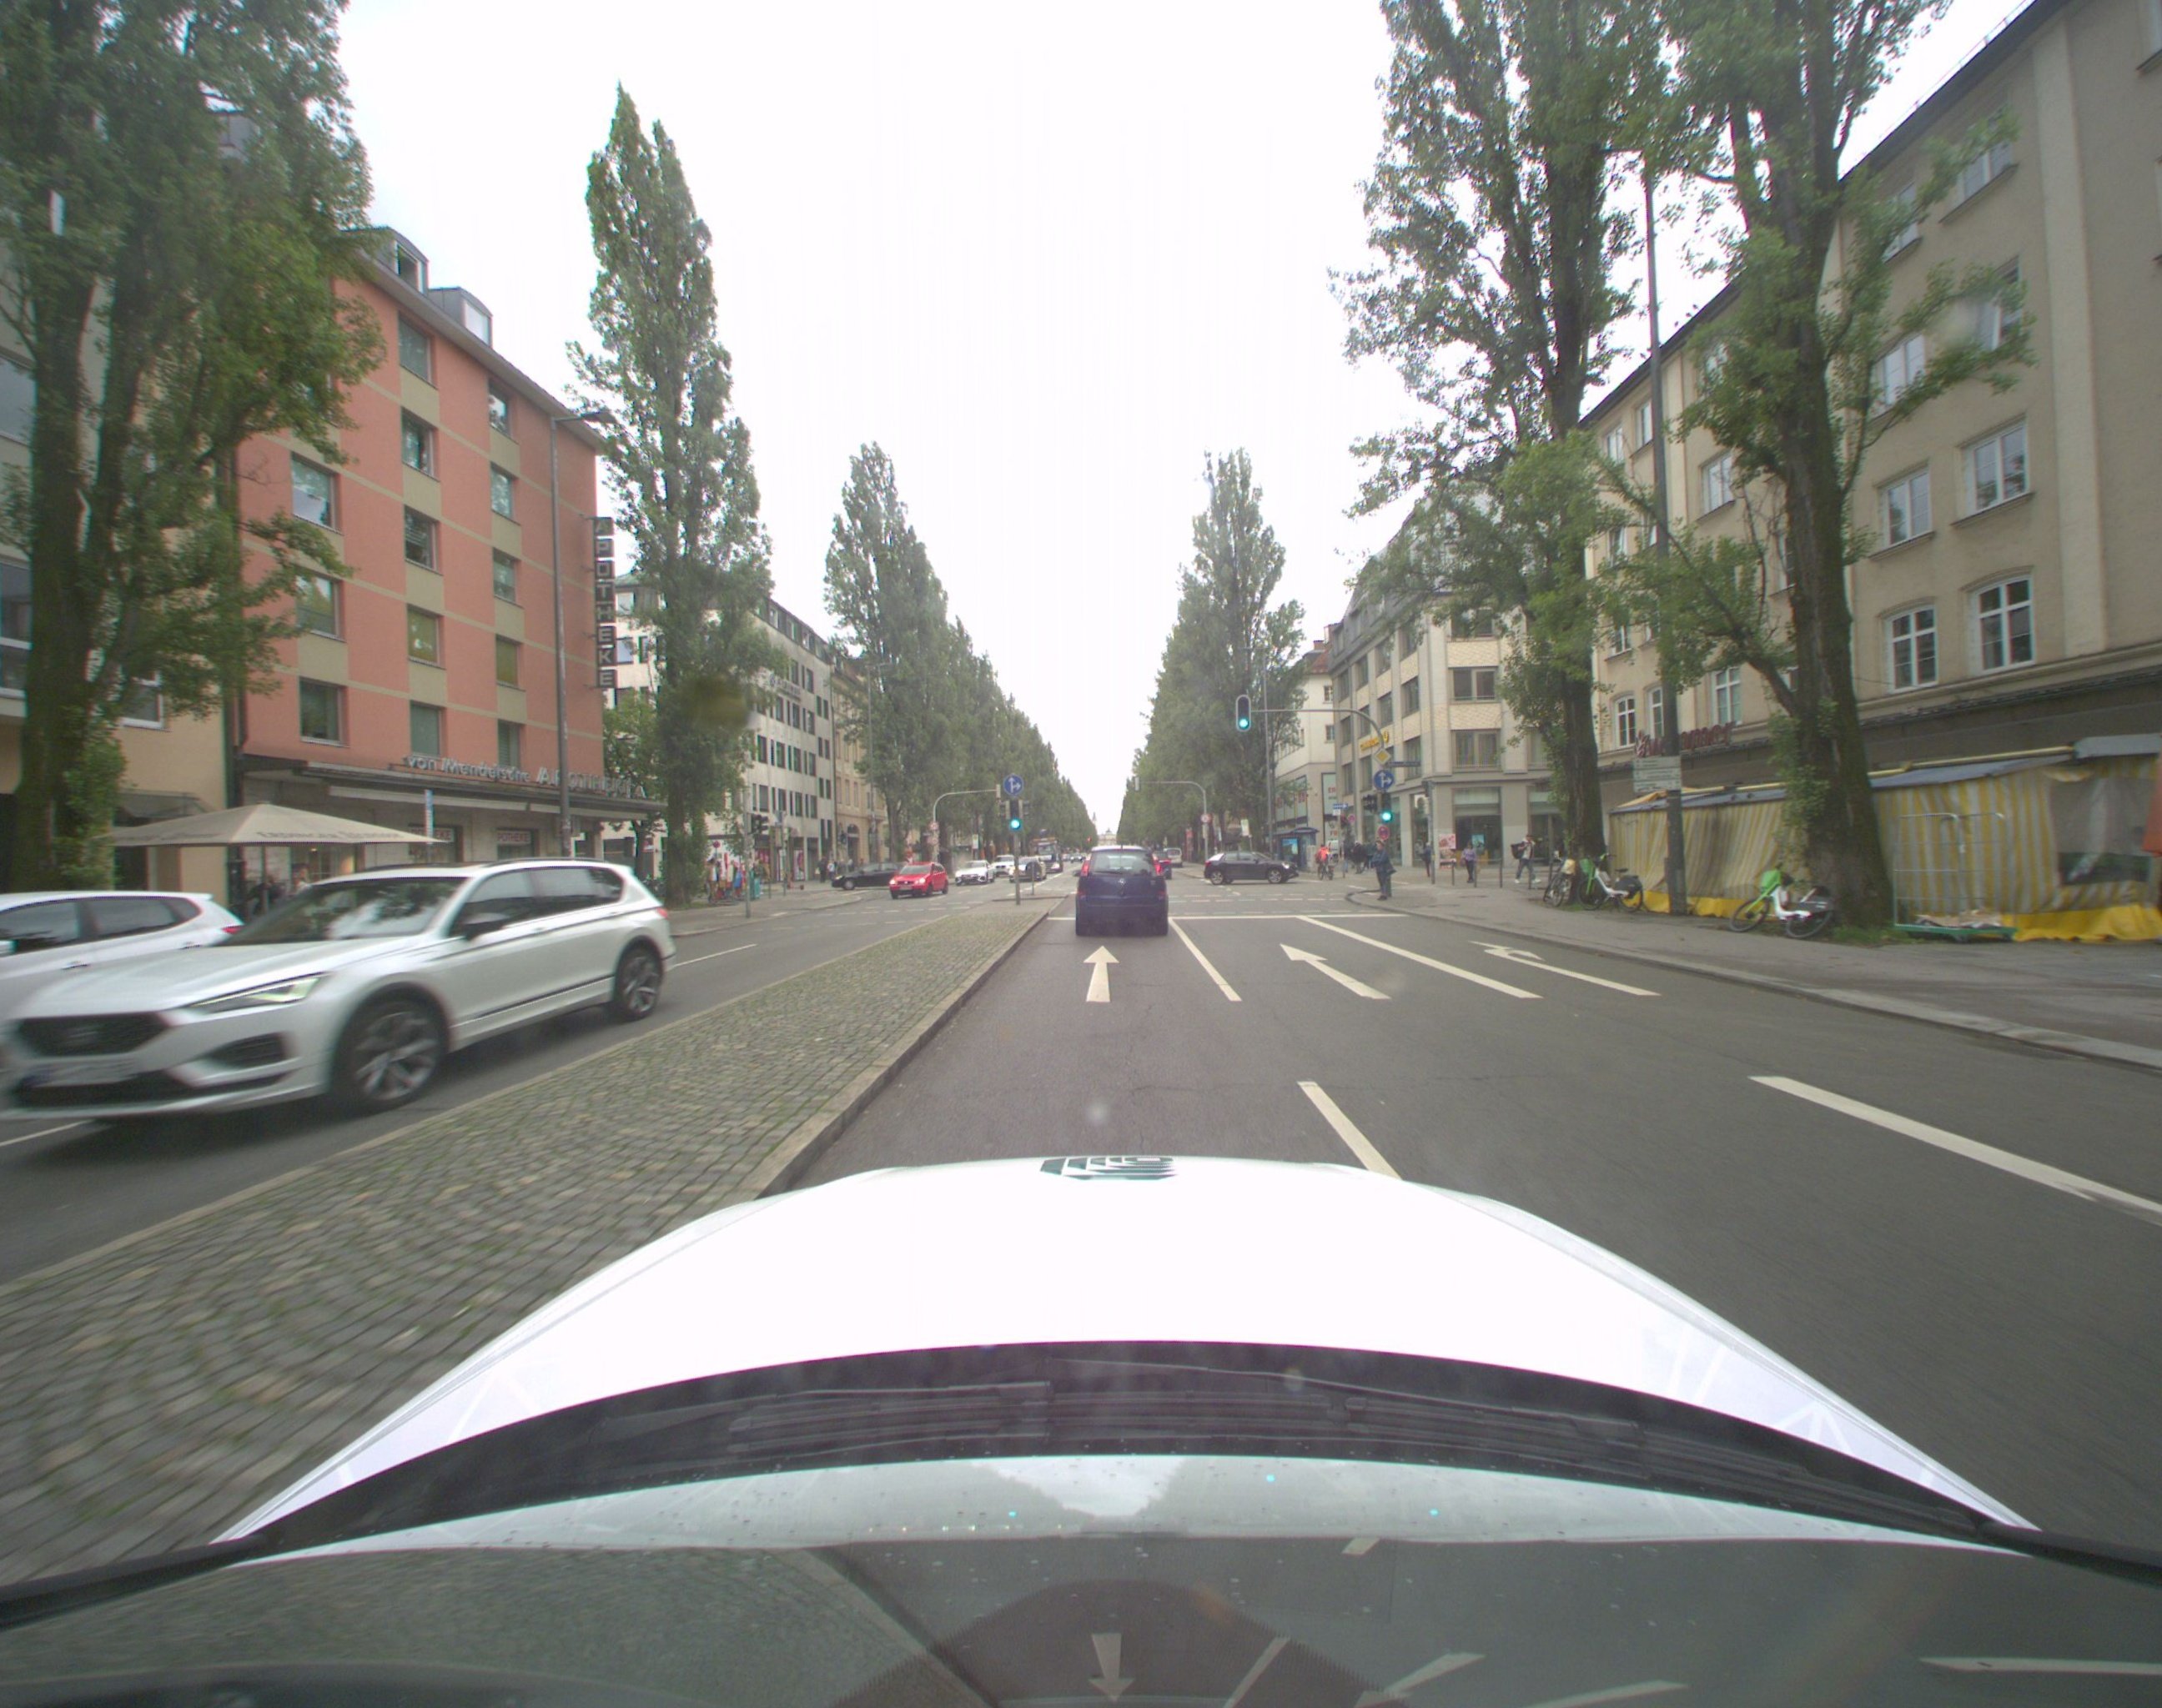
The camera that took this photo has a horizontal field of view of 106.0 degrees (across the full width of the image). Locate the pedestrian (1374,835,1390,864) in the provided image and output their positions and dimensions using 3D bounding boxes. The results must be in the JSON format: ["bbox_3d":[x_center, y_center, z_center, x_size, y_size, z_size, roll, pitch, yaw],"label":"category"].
[{"bbox_3d":[18.924,-0.272,51.219,0.747,1.758,0.711,-2,0,3],"label":"pedestrian"}]

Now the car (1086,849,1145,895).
[{"bbox_3d":[1.245,0.616,30.083,1.986,1.497,4.001,-2,0,1],"label":"car"}]

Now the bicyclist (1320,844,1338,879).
[{"bbox_3d":[11.604,0.348,38.119,0.619,1.588,0.481,-2,0,1],"label":"bicyclist"}]

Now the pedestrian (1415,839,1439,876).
[{"bbox_3d":[16.164,0.167,38.075,0.746,1.636,0.735,-3,-2,4],"label":"pedestrian"}]

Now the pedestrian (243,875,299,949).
[{"bbox_3d":[-18.858,1.339,18.976,0.552,1.638,0.692,-2,0,1],"label":"pedestrian"}]

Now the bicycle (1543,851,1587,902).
[{"bbox_3d":[10.902,0.491,18.397,0.401,1.070,1.820,3,1,18],"label":"bicycle"}]

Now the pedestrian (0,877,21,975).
[{"bbox_3d":[-18.889,1.242,13.787,0.777,1.668,0.802,-2,0,1],"label":"pedestrian"}]

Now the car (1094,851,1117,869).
[{"bbox_3d":[2.147,0.490,72.387,1.986,1.497,4.001,-2,0,1],"label":"car"}]

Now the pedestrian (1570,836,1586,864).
[{"bbox_3d":[25.748,-0.219,42.190,0.442,1.405,0.584,-2,0,-1],"label":"pedestrian"}]

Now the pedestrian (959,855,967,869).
[{"bbox_3d":[-14.636,0.957,100.871,0.731,1.673,0.953,-2,0,2],"label":"pedestrian"}]

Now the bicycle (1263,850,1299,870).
[{"bbox_3d":[13.743,0.418,56.011,2.334,1.252,0.633,-2,0,1],"label":"bicycle"}]

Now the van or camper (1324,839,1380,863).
[{"bbox_3d":[22.409,-0.234,67.443,4.084,1.867,1.901,-1,0,5],"label":"van or camper"}]

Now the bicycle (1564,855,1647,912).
[{"bbox_3d":[10.420,0.564,16.250,0.507,1.048,1.770,-2,0,0],"label":"bicycle"}]

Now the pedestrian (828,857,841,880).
[{"bbox_3d":[-19.632,1.161,64.788,0.696,1.787,0.821,-2,0,3],"label":"pedestrian"}]

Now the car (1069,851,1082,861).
[{"bbox_3d":[-0.951,0.370,138.209,1.906,1.680,4.588,-2,0,2],"label":"car"}]

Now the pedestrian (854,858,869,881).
[{"bbox_3d":[-16.244,1.135,60.347,0.775,1.618,0.935,-2,0,1],"label":"pedestrian"}]

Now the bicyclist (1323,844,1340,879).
[{"bbox_3d":[11.590,0.346,37.735,0.619,1.588,0.391,-2,0,1],"label":"bicyclist"}]

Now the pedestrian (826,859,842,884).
[{"bbox_3d":[-16.949,1.205,55.958,0.729,1.681,0.978,0,0,2],"label":"pedestrian"}]

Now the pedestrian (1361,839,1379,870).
[{"bbox_3d":[16.871,0.039,47.551,0.747,1.758,0.859,-2,-2,3],"label":"pedestrian"}]

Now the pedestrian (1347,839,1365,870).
[{"bbox_3d":[16.071,0.020,47.618,0.747,1.758,0.859,-2,-2,3],"label":"pedestrian"}]

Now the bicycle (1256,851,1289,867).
[{"bbox_3d":[13.575,0.335,57.670,2.140,1.017,0.875,-2,0,1],"label":"bicycle"}]

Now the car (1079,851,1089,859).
[{"bbox_3d":[0.656,0.231,174.759,1.928,1.623,4.338,-2,0,2],"label":"car"}]

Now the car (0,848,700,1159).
[{"bbox_3d":[-5.301,0.829,6.792,1.836,1.636,4.578,-3,0,3],"label":"car"}]

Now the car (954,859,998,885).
[{"bbox_3d":[-6.278,1.034,49.186,1.816,1.408,4.634,-3,0,2],"label":"car"}]

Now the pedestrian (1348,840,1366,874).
[{"bbox_3d":[14.834,0.152,43.768,0.705,1.758,0.753,-2,0,3],"label":"pedestrian"}]

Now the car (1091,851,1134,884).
[{"bbox_3d":[1.534,0.614,40.686,1.986,1.497,4.001,-2,0,1],"label":"car"}]

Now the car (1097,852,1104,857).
[{"bbox_3d":[5.843,0.020,240.341,1.955,1.399,3.780,-2,0,1],"label":"car"}]

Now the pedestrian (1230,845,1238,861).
[{"bbox_3d":[18.747,-0.139,99.692,0.822,1.841,1.100,-2,0,4],"label":"pedestrian"}]

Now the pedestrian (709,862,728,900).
[{"bbox_3d":[-16.295,1.195,36.610,0.627,1.688,0.519,-1,-1,3],"label":"pedestrian"}]

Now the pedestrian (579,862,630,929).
[{"bbox_3d":[-13.244,1.128,22.653,0.729,1.796,0.997,-1,-1,20],"label":"pedestrian"}]

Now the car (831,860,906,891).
[{"bbox_3d":[-11.304,1.129,43.303,3.701,1.475,1.762,-2,0,-17],"label":"car"}]

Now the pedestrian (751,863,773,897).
[{"bbox_3d":[-16.559,1.324,42.291,0.724,1.740,0.942,-1,-1,1],"label":"pedestrian"}]

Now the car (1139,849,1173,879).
[{"bbox_3d":[4.318,0.550,47.340,1.700,1.574,4.001,-2,0,1],"label":"car"}]

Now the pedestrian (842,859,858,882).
[{"bbox_3d":[-15.668,1.101,55.237,0.748,1.567,0.989,-1,-1,1],"label":"pedestrian"}]

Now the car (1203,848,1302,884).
[{"bbox_3d":[7.712,0.543,36.625,3.950,1.461,1.770,-2,0,26],"label":"car"}]

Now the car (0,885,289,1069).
[{"bbox_3d":[-10.633,1.207,7.925,1.697,1.583,4.097,-3,0,2],"label":"car"}]

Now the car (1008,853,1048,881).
[{"bbox_3d":[-3.176,0.764,49.676,1.837,1.501,4.988,-3,0,2],"label":"car"}]

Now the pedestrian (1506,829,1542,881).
[{"bbox_3d":[15.115,0.047,27.765,0.850,1.702,0.670,-4,-3,43],"label":"pedestrian"}]

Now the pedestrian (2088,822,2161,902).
[{"bbox_3d":[17.336,0.125,13.338,0.772,1.264,0.700,-2,0,2],"label":"pedestrian"}]

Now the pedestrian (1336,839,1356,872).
[{"bbox_3d":[14.981,0.071,46.023,0.815,1.818,0.890,-2,0,0],"label":"pedestrian"}]

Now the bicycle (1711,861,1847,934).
[{"bbox_3d":[10.443,0.616,12.271,0.507,0.975,1.770,-2,0,0],"label":"bicycle"}]

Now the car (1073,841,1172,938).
[{"bbox_3d":[0.759,0.599,16.053,1.675,1.641,4.001,-1,0,1],"label":"car"}]

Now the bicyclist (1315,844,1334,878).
[{"bbox_3d":[11.617,0.352,38.878,0.619,1.588,0.753,-2,0,1],"label":"bicyclist"}]

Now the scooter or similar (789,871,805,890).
[{"bbox_3d":[-16.559,1.544,47.531,0.811,1.093,0.274,-1,-1,-3],"label":"scooter or similar"}]

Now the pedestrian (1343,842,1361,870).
[{"bbox_3d":[16.642,0.111,50.069,0.747,1.677,0.963,-2,0,3],"label":"pedestrian"}]

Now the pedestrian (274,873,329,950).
[{"bbox_3d":[-18.197,1.327,19.028,0.552,1.717,0.692,-2,0,1],"label":"pedestrian"}]

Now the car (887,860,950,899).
[{"bbox_3d":[-6.818,1.028,34.519,1.730,1.437,3.825,-3,0,2],"label":"car"}]

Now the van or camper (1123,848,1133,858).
[{"bbox_3d":[12.446,-0.213,217.493,2.467,2.581,5.847,-2,0,2],"label":"van or camper"}]

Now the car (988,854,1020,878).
[{"bbox_3d":[-5.980,0.923,63.715,1.830,1.716,4.638,-3,0,2],"label":"car"}]

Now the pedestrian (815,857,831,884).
[{"bbox_3d":[-17.752,1.115,55.983,0.797,1.787,0.912,0,0,2],"label":"pedestrian"}]

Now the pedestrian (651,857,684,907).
[{"bbox_3d":[-14.914,1.001,29.369,0.721,1.771,0.778,-2,0,3],"label":"pedestrian"}]

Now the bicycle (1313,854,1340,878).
[{"bbox_3d":[11.624,0.549,38.666,0.624,1.086,2.264,-2,0,1],"label":"bicycle"}]

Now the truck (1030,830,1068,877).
[{"bbox_3d":[-2.638,-0.064,69.090,2.454,3.670,8.443,-2,0,2],"label":"truck"}]

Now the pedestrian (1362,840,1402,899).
[{"bbox_3d":[8.554,0.435,23.169,0.763,1.609,0.864,-2,0,-2],"label":"pedestrian"}]

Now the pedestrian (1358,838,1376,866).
[{"bbox_3d":[17.491,-0.122,49.894,0.747,1.718,0.963,-2,0,3],"label":"pedestrian"}]

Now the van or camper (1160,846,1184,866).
[{"bbox_3d":[9.001,0.204,80.798,1.861,1.883,4.905,-1,0,2],"label":"van or camper"}]
